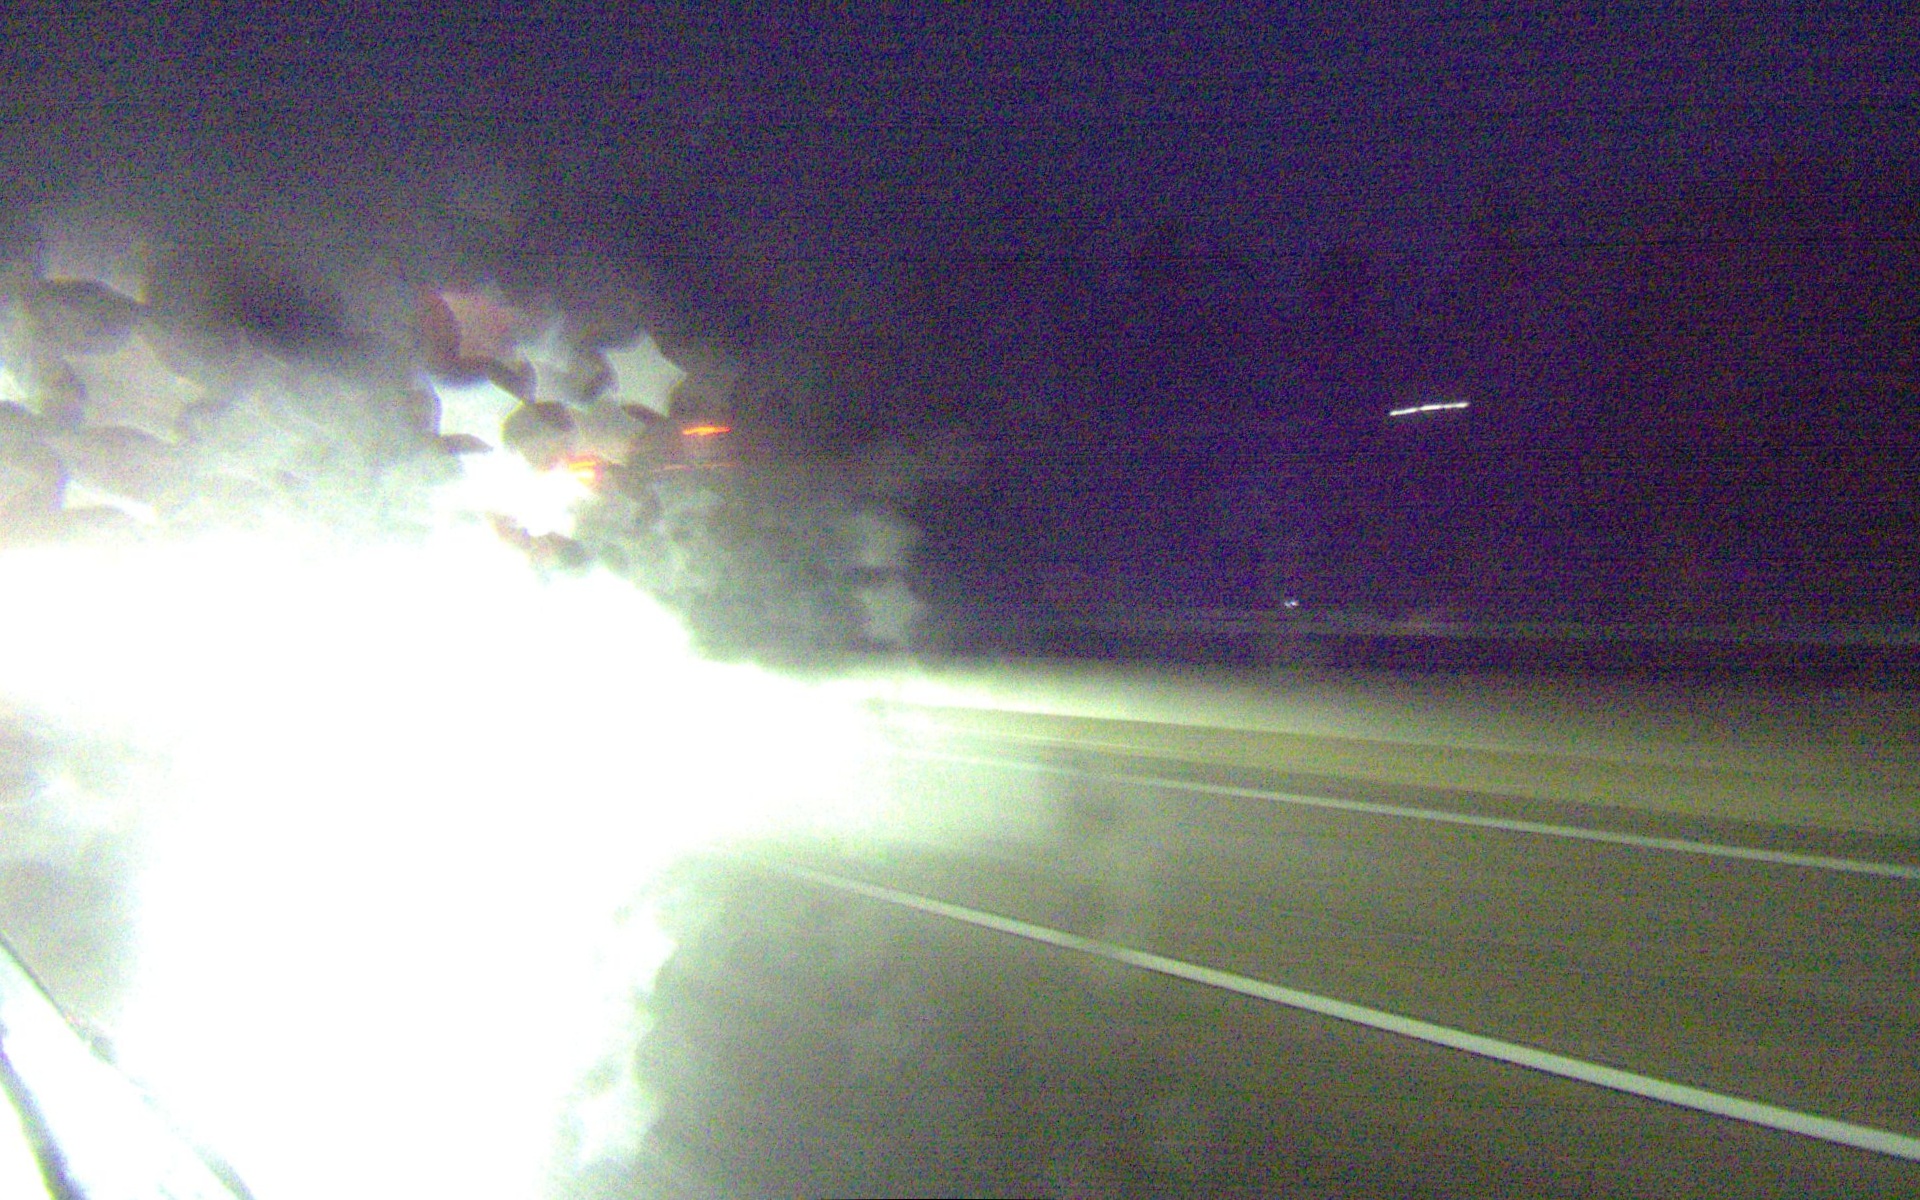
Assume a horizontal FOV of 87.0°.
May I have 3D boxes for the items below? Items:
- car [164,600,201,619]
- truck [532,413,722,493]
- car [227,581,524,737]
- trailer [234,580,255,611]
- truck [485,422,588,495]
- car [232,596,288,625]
[{"bbox_3d":[-61.849,0.744,80.509,4.000,1.504,1.723,-1,0,43],"label":"car"},{"bbox_3d":[-19.092,-8.282,57.890,11.140,3.808,2.403,0,1,18],"label":"truck"},{"bbox_3d":[-8.803,0.687,14.979,5.552,1.898,2.115,1,1,41],"label":"car"},{"bbox_3d":[-121.310,-0.823,171.490,2.737,5.012,14.141,0,1,-36],"label":"trailer"},{"bbox_3d":[-25.019,-8.276,59.843,5.385,3.808,2.403,0,1,18],"label":"truck"},{"bbox_3d":[-38.561,0.565,55.730,4.000,1.504,1.723,-1,0,43],"label":"car"}]
